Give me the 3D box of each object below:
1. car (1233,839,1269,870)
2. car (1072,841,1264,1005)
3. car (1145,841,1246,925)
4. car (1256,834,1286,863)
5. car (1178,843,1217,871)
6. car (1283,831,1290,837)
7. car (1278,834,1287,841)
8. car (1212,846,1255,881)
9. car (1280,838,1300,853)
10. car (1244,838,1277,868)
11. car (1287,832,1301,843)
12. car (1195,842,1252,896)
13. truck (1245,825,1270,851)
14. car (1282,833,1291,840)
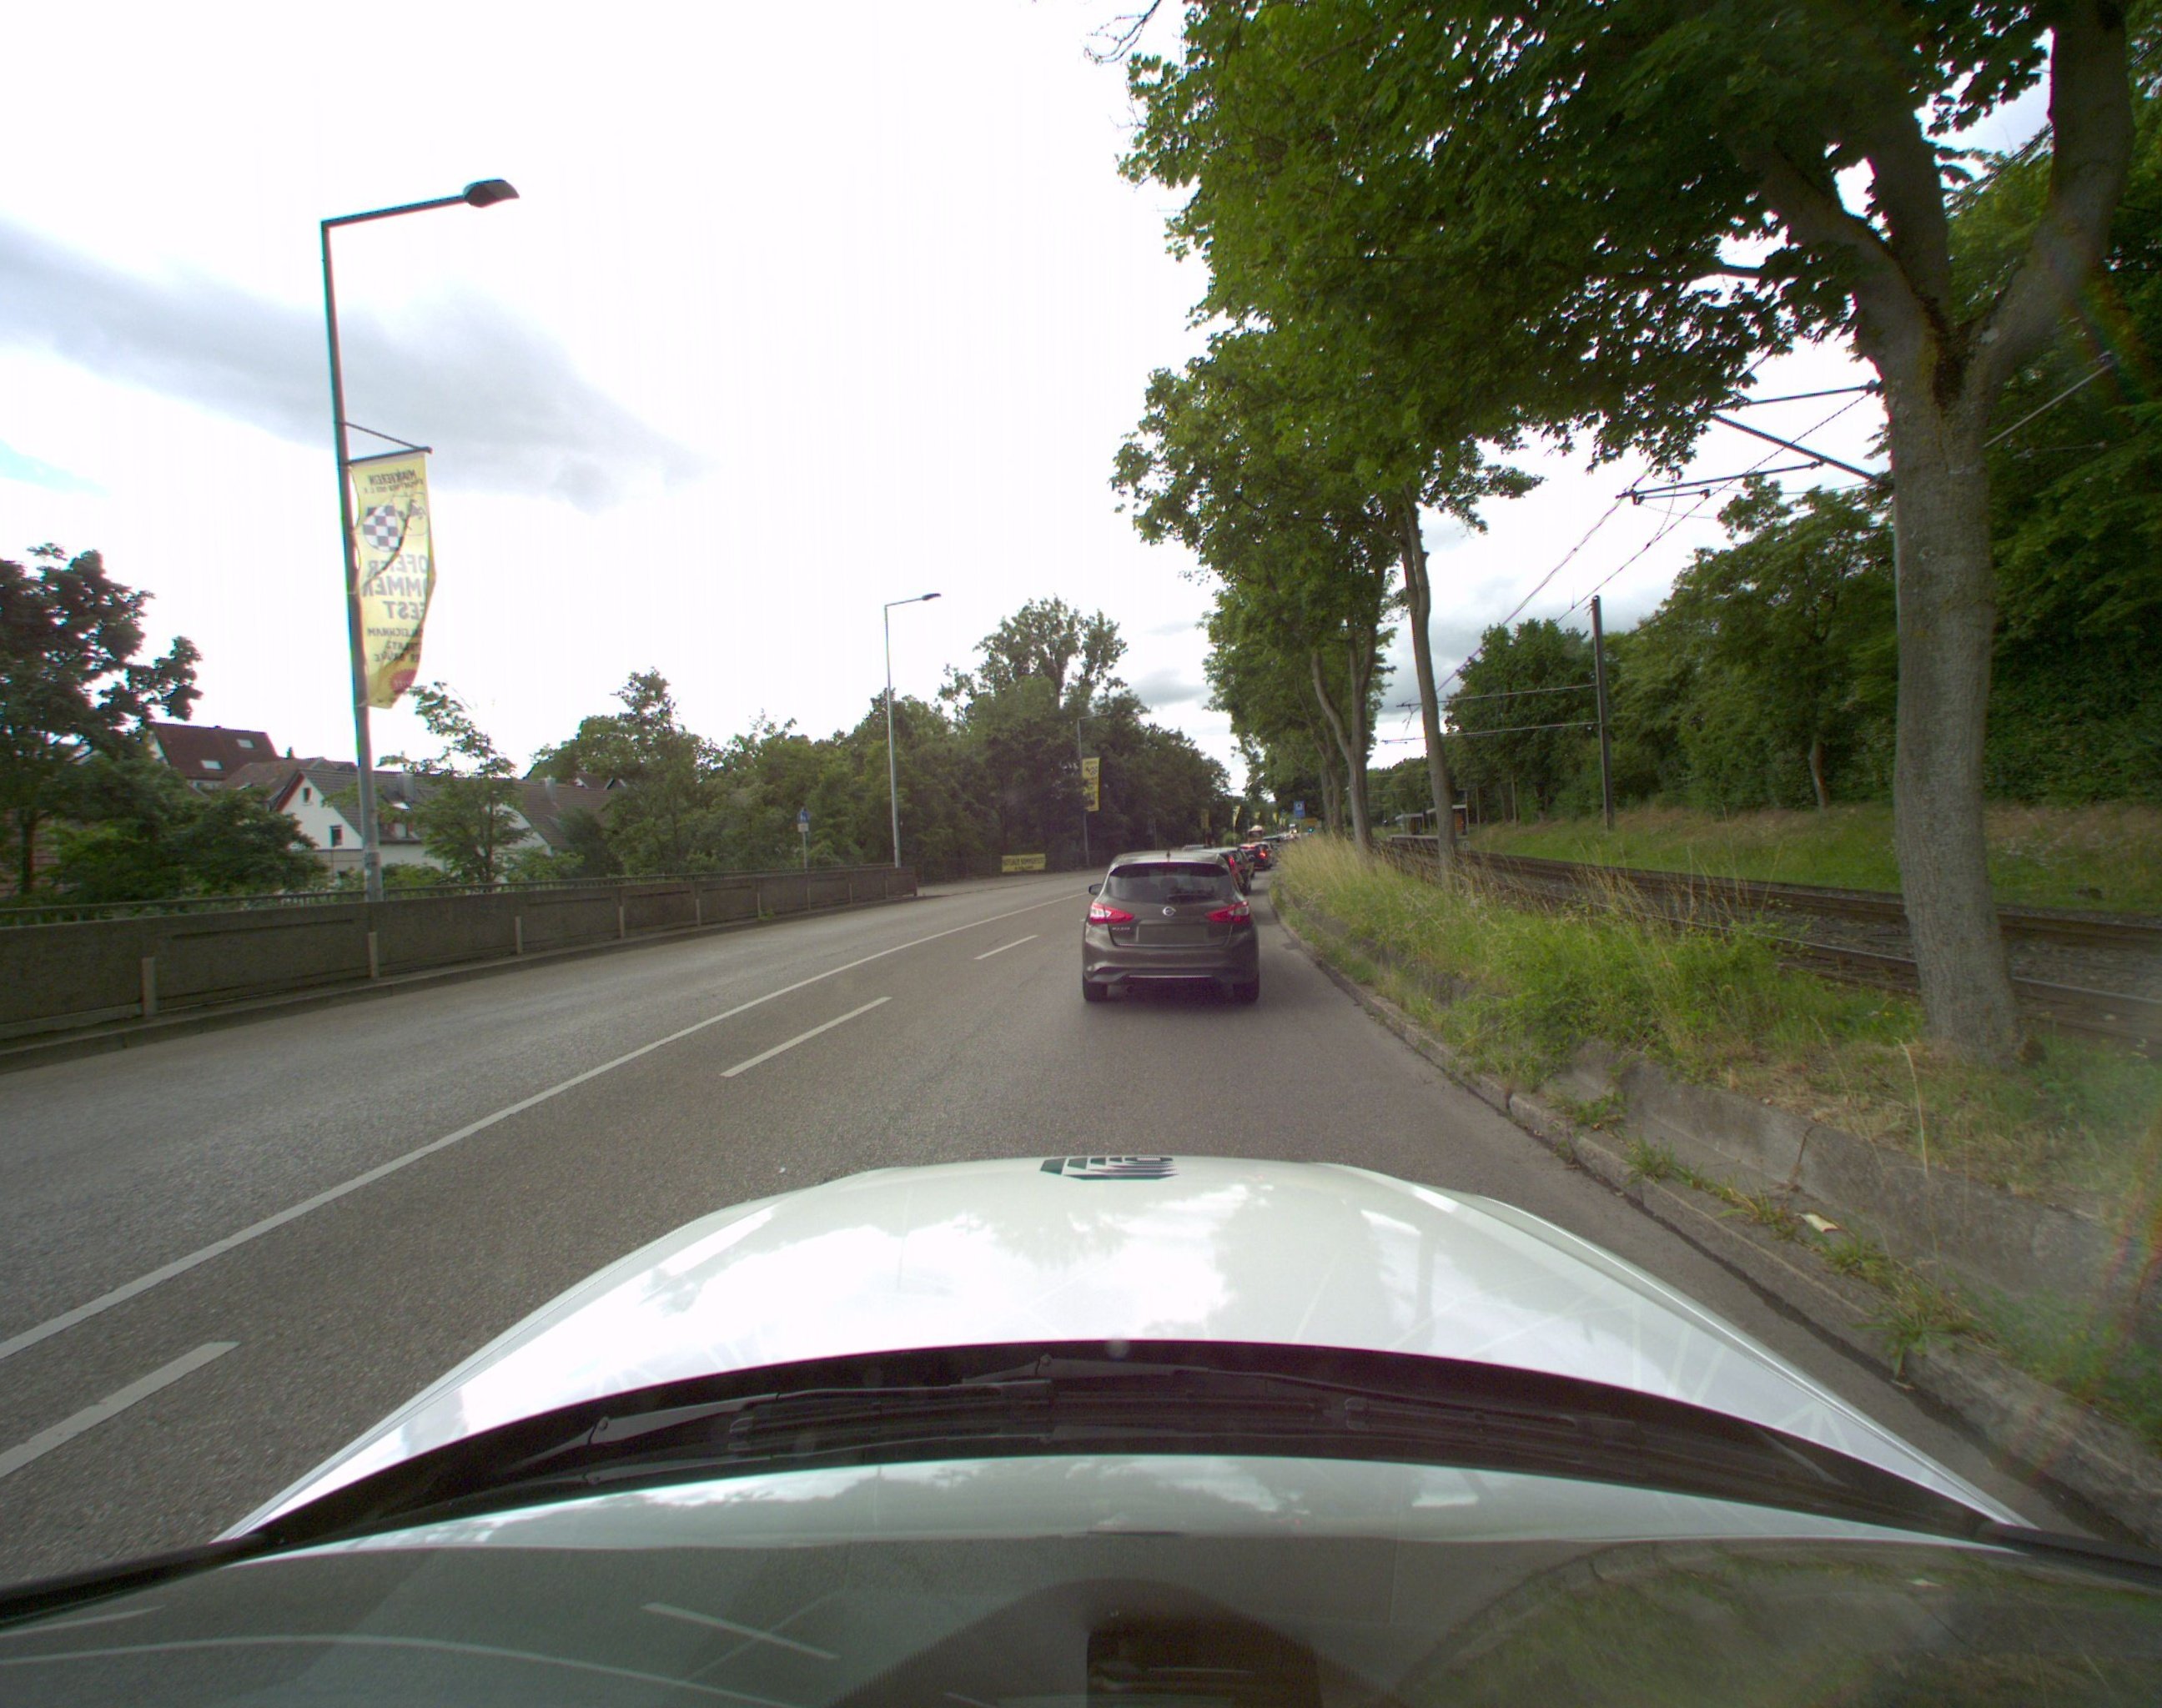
[{"bbox_3d":[9.226,0.027,43.995,1.792,1.540,4.014,-1,0,12],"label":"car"},{"bbox_3d":[1.131,0.662,9.557,1.764,1.494,4.011,-1,-1,10],"label":"car"},{"bbox_3d":[2.531,0.578,17.724,1.881,1.574,4.010,-2,-1,9],"label":"car"},{"bbox_3d":[14.299,-0.430,61.074,1.876,2.013,4.018,-2,0,16],"label":"car"},{"bbox_3d":[6.778,0.180,46.860,1.839,1.486,4.435,-3,-1,12],"label":"car"},{"bbox_3d":[57.227,-5.442,226.978,1.739,1.420,4.016,-3,-2,15],"label":"car"},{"bbox_3d":[46.370,-3.854,187.753,1.707,1.442,4.019,-3,0,18],"label":"car"},{"bbox_3d":[6.743,0.379,35.737,1.489,1.364,3.602,-3,-1,15],"label":"car"},{"bbox_3d":[21.836,-0.854,84.939,1.876,1.445,3.824,-2,0,16],"label":"car"},{"bbox_3d":[11.191,-0.006,50.671,1.705,1.693,4.016,-3,-2,15],"label":"car"},{"bbox_3d":[33.407,-2.613,127.730,1.876,1.653,4.018,-2,0,16],"label":"car"},{"bbox_3d":[4.587,0.444,25.952,1.567,1.538,4.013,-3,-1,11],"label":"car"},{"bbox_3d":[28.197,-2.542,130.005,2.633,3.938,10.160,-2,0,19],"label":"truck"},{"bbox_3d":[50.243,-4.325,199.081,1.803,1.462,4.018,-3,0,17],"label":"car"}]
